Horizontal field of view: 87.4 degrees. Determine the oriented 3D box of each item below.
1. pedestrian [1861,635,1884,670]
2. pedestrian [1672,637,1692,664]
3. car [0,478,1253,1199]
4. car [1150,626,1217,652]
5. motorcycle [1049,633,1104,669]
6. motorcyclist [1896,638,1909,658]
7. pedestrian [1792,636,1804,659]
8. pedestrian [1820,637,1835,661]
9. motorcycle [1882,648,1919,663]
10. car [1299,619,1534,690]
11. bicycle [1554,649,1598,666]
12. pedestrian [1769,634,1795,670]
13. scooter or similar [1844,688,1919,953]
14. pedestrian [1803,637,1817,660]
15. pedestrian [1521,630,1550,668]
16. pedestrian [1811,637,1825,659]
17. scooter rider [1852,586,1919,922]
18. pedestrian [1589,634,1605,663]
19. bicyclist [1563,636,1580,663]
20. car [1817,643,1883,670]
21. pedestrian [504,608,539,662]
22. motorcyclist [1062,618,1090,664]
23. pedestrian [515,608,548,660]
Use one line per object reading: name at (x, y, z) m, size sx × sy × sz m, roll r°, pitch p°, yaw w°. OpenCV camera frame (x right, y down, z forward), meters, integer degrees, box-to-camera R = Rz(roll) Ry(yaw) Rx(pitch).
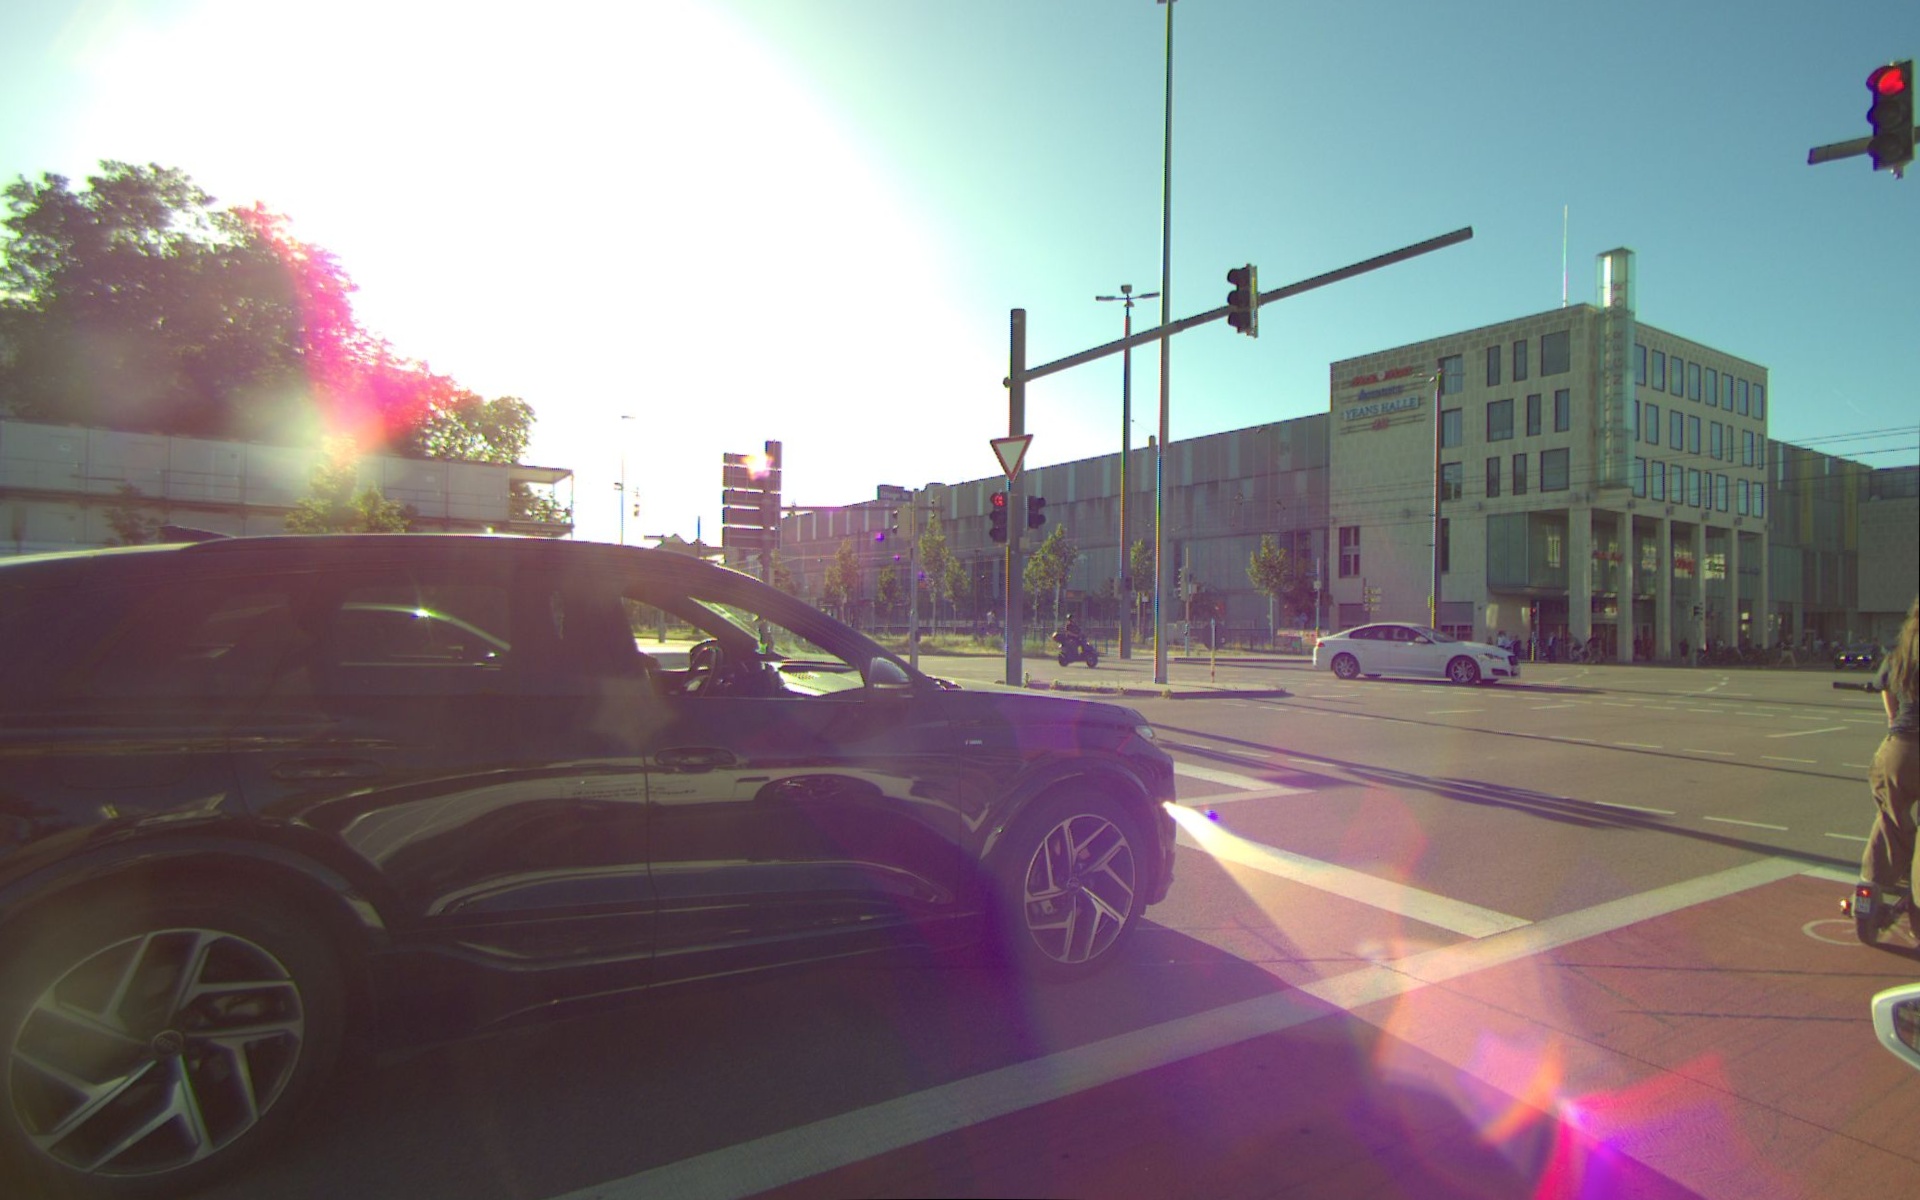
pedestrian at (45.306, 2.613, 49.861) m, size 0.612 × 1.710 × 0.697 m, roll 1°, pitch -1°, yaw -29°
pedestrian at (43.627, 3.048, 60.682) m, size 0.615 × 1.660 × 0.777 m, roll 1°, pitch -1°, yaw -12°
car at (-1.241, 0.629, 4.060) m, size 4.613 × 1.729 × 2.153 m, roll 1°, pitch 0°, yaw -32°
car at (15.871, 2.763, 71.649) m, size 1.805 × 1.706 × 4.818 m, roll 1°, pitch -2°, yaw -32°
motorcycle at (3.845, 1.661, 33.186) m, size 0.643 × 1.115 × 1.940 m, roll 1°, pitch -1°, yaw -37°
motorcyclist at (70.811, 3.619, 75.462) m, size 0.657 × 1.424 × 0.623 m, roll 2°, pitch 0°, yaw -38°
pedestrian at (66.359, 3.760, 79.520) m, size 0.510 × 1.752 × 0.472 m, roll 2°, pitch 0°, yaw 9°
pedestrian at (66.904, 3.765, 77.433) m, size 0.681 × 1.752 × 0.472 m, roll 2°, pitch 0°, yaw 9°
motorcycle at (70.837, 4.127, 75.153) m, size 1.106 × 1.006 × 2.582 m, roll 2°, pitch 0°, yaw -38°
car at (11.376, 1.292, 25.321) m, size 1.986 × 1.585 × 5.034 m, roll 2°, pitch -2°, yaw -43°
bicycle at (34.243, 3.170, 55.878) m, size 2.177 × 0.915 × 0.637 m, roll 1°, pitch -1°, yaw -7°
pedestrian at (44.483, 2.817, 54.369) m, size 0.529 × 1.889 × 0.943 m, roll 1°, pitch -1°, yaw -13°
scooter or similar at (4.458, 0.999, 4.759) m, size 0.832 × 1.122 × 0.303 m, roll 2°, pitch -1°, yaw -42°
pedestrian at (65.821, 3.735, 77.809) m, size 0.615 × 1.752 × 0.472 m, roll 2°, pitch 0°, yaw 4°
pedestrian at (26.182, 2.227, 45.688) m, size 0.994 × 1.697 × 0.818 m, roll 1°, pitch -1°, yaw -33°
pedestrian at (67.944, 3.808, 79.552) m, size 0.616 × 1.752 × 0.471 m, roll 2°, pitch 0°, yaw -1°
scooter rider at (4.637, 0.717, 4.755) m, size 0.445 × 1.550 × 0.548 m, roll 1°, pitch -1°, yaw -38°
pedestrian at (37.612, 2.862, 59.284) m, size 0.622 × 1.667 × 0.589 m, roll 1°, pitch -1°, yaw -30°
bicyclist at (34.025, 2.731, 55.882) m, size 0.578 × 1.467 × 0.627 m, roll 1°, pitch -1°, yaw -6°
car at (49.458, 3.113, 55.821) m, size 3.975 × 1.375 × 1.668 m, roll 1°, pitch -2°, yaw -31°
pedestrian at (-13.574, 1.068, 31.109) m, size 0.736 × 1.632 × 0.716 m, roll 2°, pitch 0°, yaw -5°
motorcyclist at (3.833, 1.336, 33.196) m, size 0.594 × 1.499 × 0.744 m, roll 1°, pitch -1°, yaw -37°
pedestrian at (-13.659, 1.071, 32.051) m, size 0.736 × 1.632 × 0.716 m, roll 2°, pitch 0°, yaw -5°
